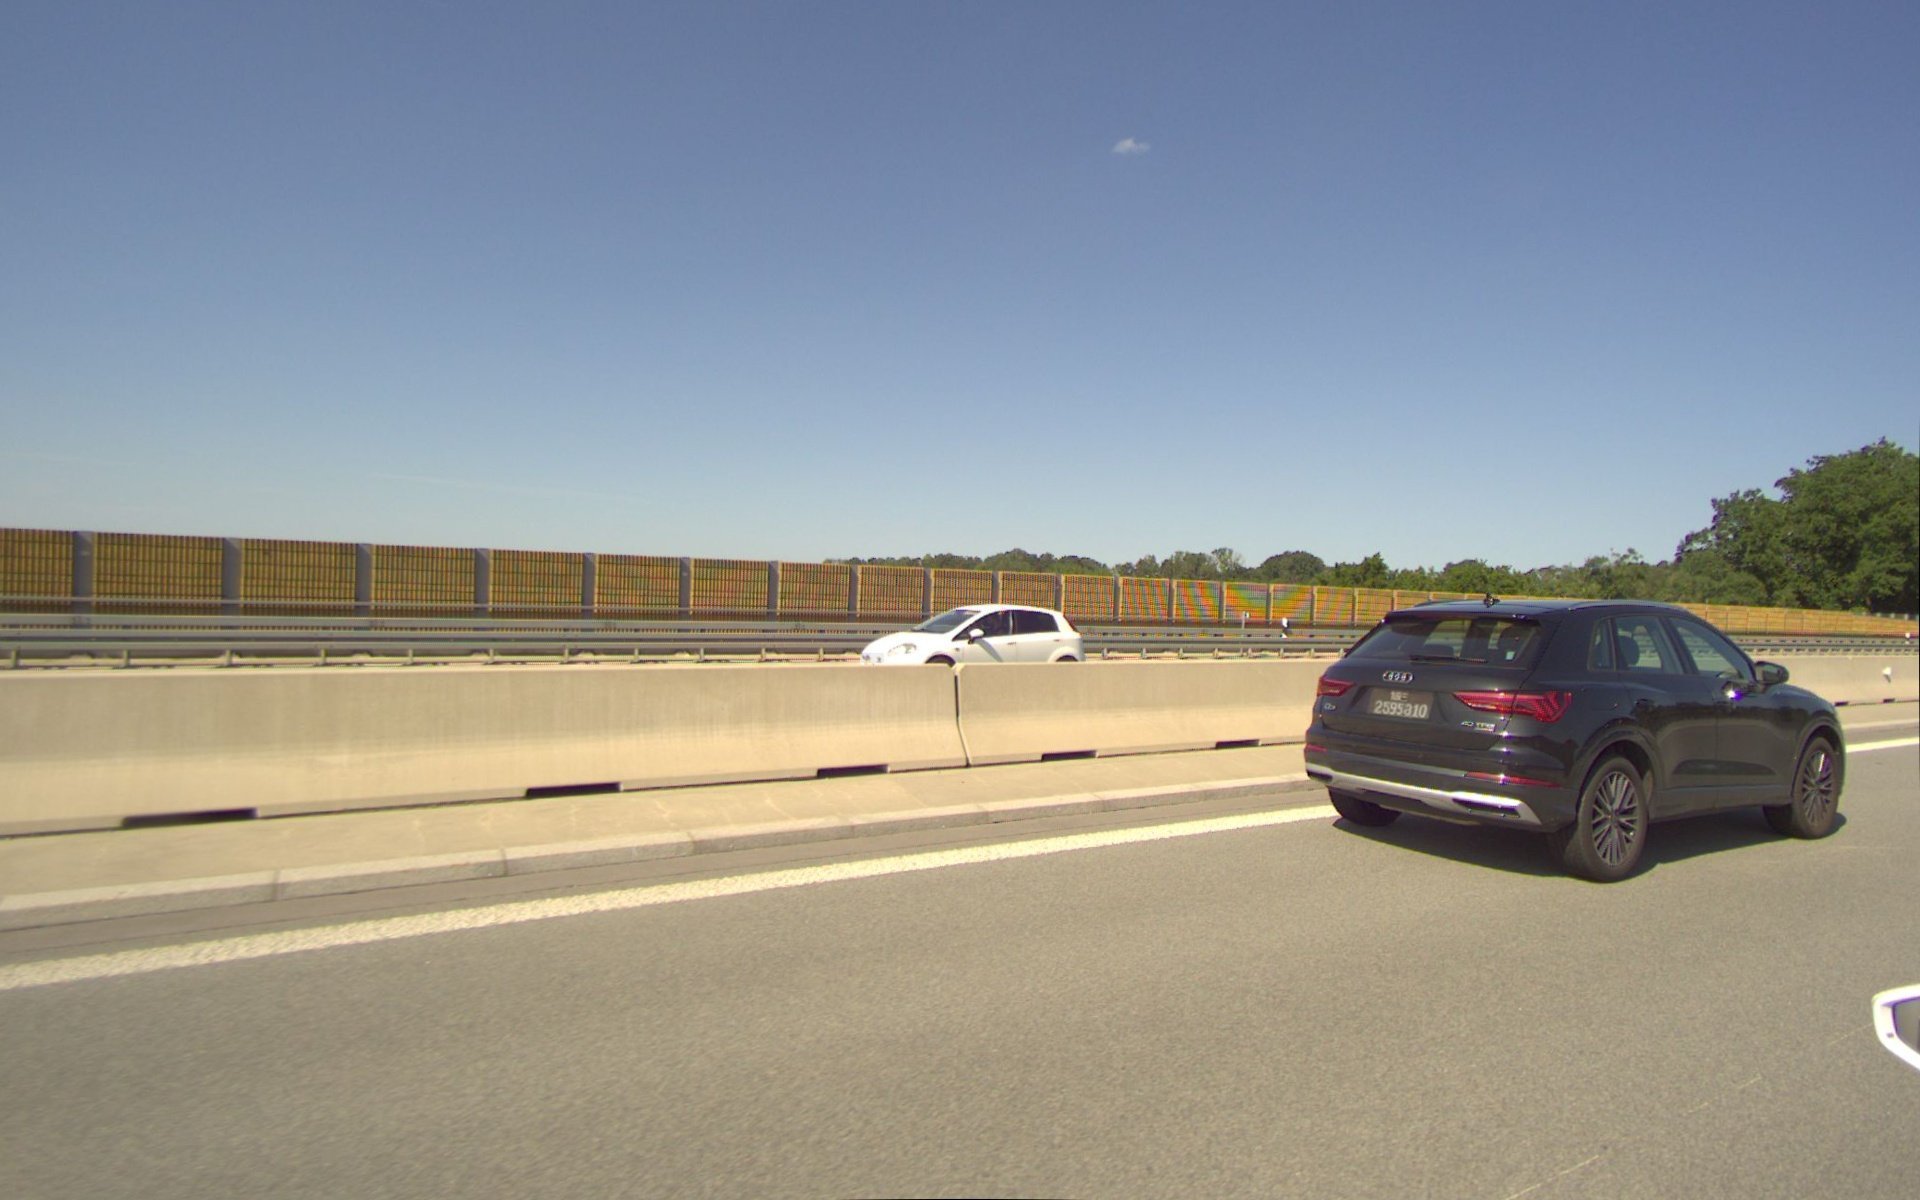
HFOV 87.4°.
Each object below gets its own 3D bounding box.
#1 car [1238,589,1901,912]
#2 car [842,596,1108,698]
[{"bbox_3d":[4.466,0.810,7.057,5.160,1.609,1.714,2,0,-30],"label":"car"},{"bbox_3d":[0.302,0.766,17.076,4.281,1.529,1.639,2,0,-30],"label":"car"}]
